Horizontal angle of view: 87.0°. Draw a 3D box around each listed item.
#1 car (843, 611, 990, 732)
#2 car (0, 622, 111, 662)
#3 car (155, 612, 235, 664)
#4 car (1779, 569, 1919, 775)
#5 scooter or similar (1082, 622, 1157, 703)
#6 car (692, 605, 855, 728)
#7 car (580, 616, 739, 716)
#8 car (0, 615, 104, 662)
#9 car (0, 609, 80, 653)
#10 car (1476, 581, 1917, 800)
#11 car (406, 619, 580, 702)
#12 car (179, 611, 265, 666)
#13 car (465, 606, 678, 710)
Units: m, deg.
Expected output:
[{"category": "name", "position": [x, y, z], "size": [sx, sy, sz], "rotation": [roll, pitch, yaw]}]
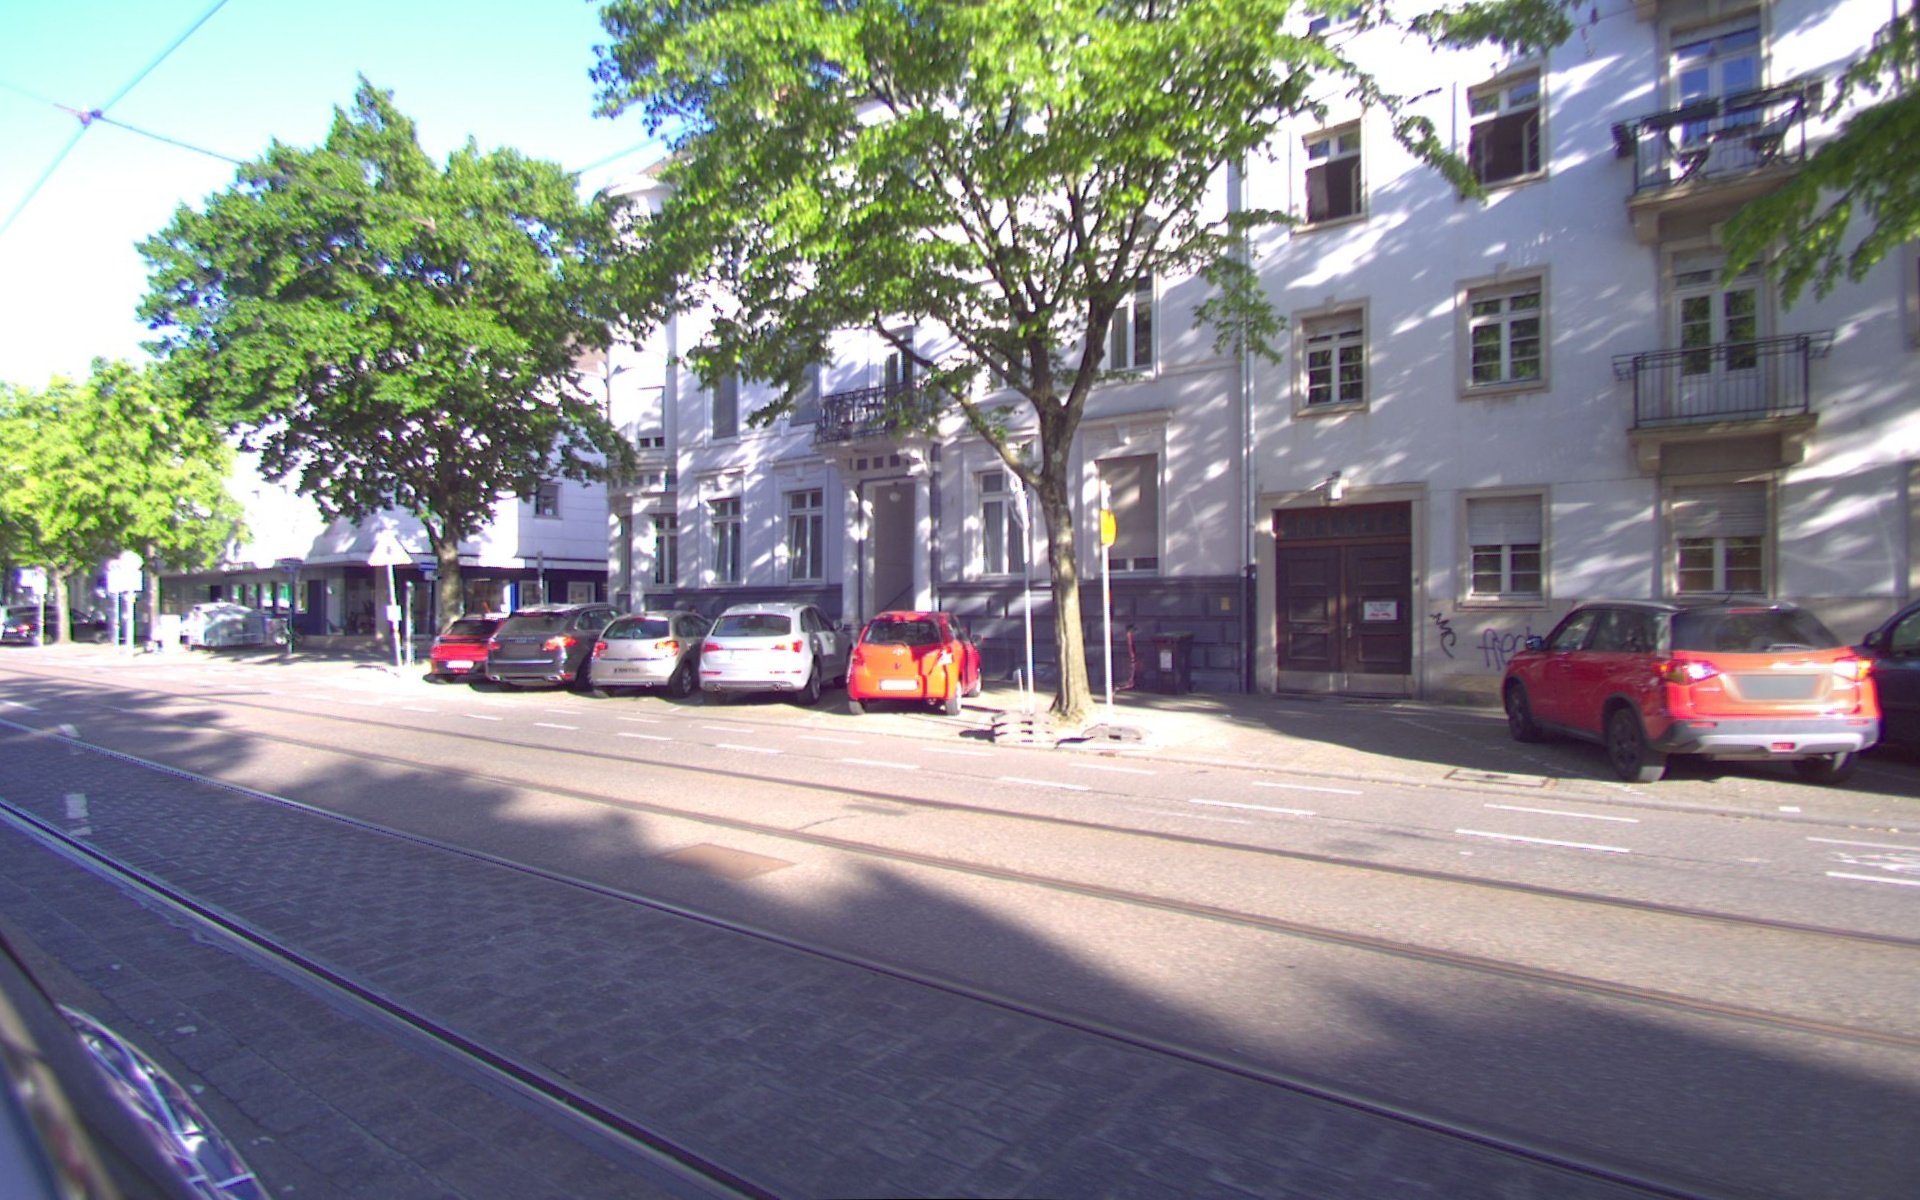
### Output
[{"category": "car", "position": [-0.560, 1.028, 16.290], "size": [1.621, 1.569, 4.191], "rotation": [-1, 1, 8]}, {"category": "car", "position": [-42.252, 1.902, 46.960], "size": [1.667, 1.581, 4.059], "rotation": [-1, 2, 31]}, {"category": "car", "position": [-29.736, 1.450, 39.315], "size": [3.209, 1.912, 1.652], "rotation": [-1, -1, 37]}, {"category": "car", "position": [9.351, 0.649, 8.447], "size": [1.762, 1.811, 4.197], "rotation": [0, 2, 3]}, {"category": "scooter or similar", "position": [2.798, 1.080, 17.825], "size": [1.285, 1.368, 0.396], "rotation": [-1, -2, 42]}, {"category": "car", "position": [-3.079, 1.030, 17.594], "size": [1.762, 1.737, 4.196], "rotation": [-1, 1, 4]}, {"category": "car", "position": [-5.577, 1.169, 19.264], "size": [1.726, 1.531, 3.763], "rotation": [-1, 1, 3]}, {"category": "car", "position": [-43.831, 1.800, 48.253], "size": [1.667, 1.965, 4.264], "rotation": [-1, 2, 31]}, {"category": "car", "position": [-46.220, 1.531, 49.651], "size": [1.667, 1.965, 4.264], "rotation": [-1, 2, 31]}, {"category": "car", "position": [6.859, 0.696, 10.081], "size": [1.723, 1.649, 4.191], "rotation": [-2, 1, 8]}, {"category": "car", "position": [-10.214, 1.264, 22.468], "size": [1.759, 1.497, 3.994], "rotation": [0, 1, 5]}, {"category": "car", "position": [-26.941, 1.361, 36.928], "size": [3.209, 1.912, 1.652], "rotation": [-1, -1, 37]}, {"category": "car", "position": [-7.699, 1.068, 20.574], "size": [1.930, 1.727, 4.341], "rotation": [0, 2, 14]}]
